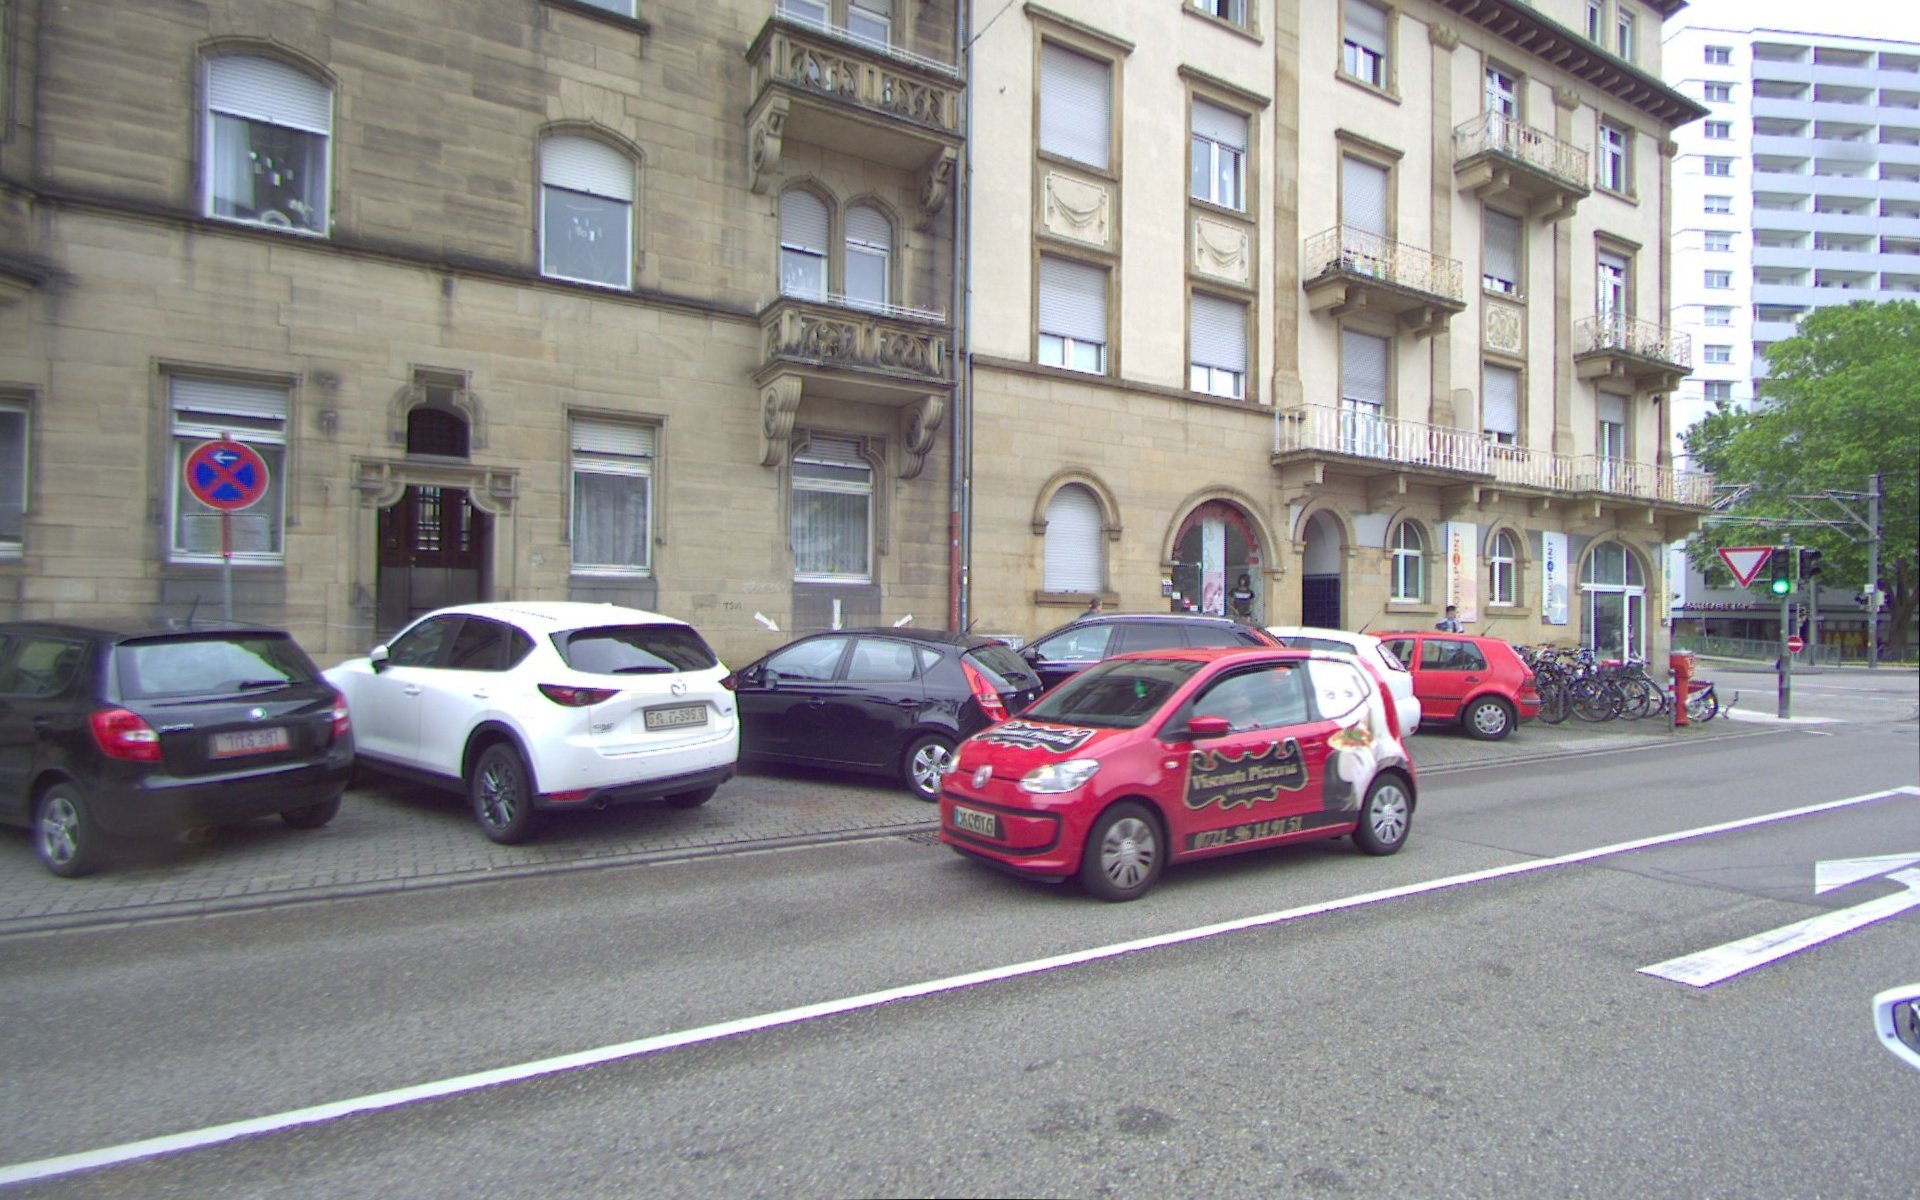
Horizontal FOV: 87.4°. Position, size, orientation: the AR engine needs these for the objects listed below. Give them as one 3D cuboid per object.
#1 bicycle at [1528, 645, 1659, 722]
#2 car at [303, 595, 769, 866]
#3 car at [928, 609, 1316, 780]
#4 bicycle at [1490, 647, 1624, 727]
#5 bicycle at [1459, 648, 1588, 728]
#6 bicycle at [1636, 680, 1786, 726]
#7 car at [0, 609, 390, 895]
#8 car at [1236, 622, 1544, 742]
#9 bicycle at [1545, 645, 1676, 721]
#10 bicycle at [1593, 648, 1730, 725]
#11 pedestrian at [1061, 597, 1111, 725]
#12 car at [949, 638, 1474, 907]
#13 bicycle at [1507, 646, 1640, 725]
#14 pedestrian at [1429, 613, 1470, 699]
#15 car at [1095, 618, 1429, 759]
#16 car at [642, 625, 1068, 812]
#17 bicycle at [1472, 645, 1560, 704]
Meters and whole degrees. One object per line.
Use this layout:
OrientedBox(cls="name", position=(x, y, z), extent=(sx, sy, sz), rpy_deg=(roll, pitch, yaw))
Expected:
OrientedBox(cls="bicycle", position=(10.919, 1.404, 17.388), extent=(0.437, 1.050, 1.876), rpy_deg=(1, 4, -31))
OrientedBox(cls="car", position=(-3.650, 0.863, 8.411), extent=(3.935, 1.746, 1.834), rpy_deg=(0, -1, 36))
OrientedBox(cls="car", position=(1.885, 0.979, 11.614), extent=(4.141, 1.673, 1.732), rpy_deg=(1, -1, 18))
OrientedBox(cls="bicycle", position=(9.911, 1.417, 16.765), extent=(0.437, 1.050, 1.876), rpy_deg=(1, 4, -31))
OrientedBox(cls="bicycle", position=(9.171, 1.400, 16.439), extent=(0.436, 1.050, 1.879), rpy_deg=(1, 3, -26))
OrientedBox(cls="bicycle", position=(13.221, 1.789, 17.735), extent=(1.017, 0.451, 1.876), rpy_deg=(0, 5, -31))
OrientedBox(cls="car", position=(-6.099, 0.879, 7.124), extent=(3.738, 1.517, 1.569), rpy_deg=(2, -1, 22))
OrientedBox(cls="car", position=(6.175, 1.140, 14.875), extent=(3.919, 1.492, 1.685), rpy_deg=(1, 1, 12))
OrientedBox(cls="bicycle", position=(11.445, 1.435, 17.735), extent=(0.437, 1.050, 1.876), rpy_deg=(1, 4, -31))
OrientedBox(cls="bicycle", position=(12.179, 1.473, 17.513), extent=(0.437, 1.050, 1.876), rpy_deg=(1, 4, -31))
OrientedBox(cls="pedestrian", position=(2.002, 0.962, 15.983), extent=(0.544, 1.984, 0.616), rpy_deg=(1, -1, -28))
OrientedBox(cls="car", position=(1.825, 1.009, 7.127), extent=(3.469, 1.466, 1.642), rpy_deg=(1, -2, -30))
OrientedBox(cls="bicycle", position=(10.362, 1.411, 17.044), extent=(0.437, 1.050, 1.876), rpy_deg=(1, 4, -31))
OrientedBox(cls="pedestrian", position=(10.459, 1.190, 21.462), extent=(0.544, 1.809, 0.564), rpy_deg=(1, -1, -28))
OrientedBox(cls="car", position=(3.886, 1.066, 13.212), extent=(3.920, 1.492, 1.565), rpy_deg=(2, 0, 18))
OrientedBox(cls="car", position=(-1.053, 1.050, 10.135), extent=(3.923, 1.514, 1.731), rpy_deg=(1, -1, 24))
OrientedBox(cls="bicycle", position=(10.452, 1.376, 18.855), extent=(1.973, 1.041, 0.499), rpy_deg=(1, -1, -30))
